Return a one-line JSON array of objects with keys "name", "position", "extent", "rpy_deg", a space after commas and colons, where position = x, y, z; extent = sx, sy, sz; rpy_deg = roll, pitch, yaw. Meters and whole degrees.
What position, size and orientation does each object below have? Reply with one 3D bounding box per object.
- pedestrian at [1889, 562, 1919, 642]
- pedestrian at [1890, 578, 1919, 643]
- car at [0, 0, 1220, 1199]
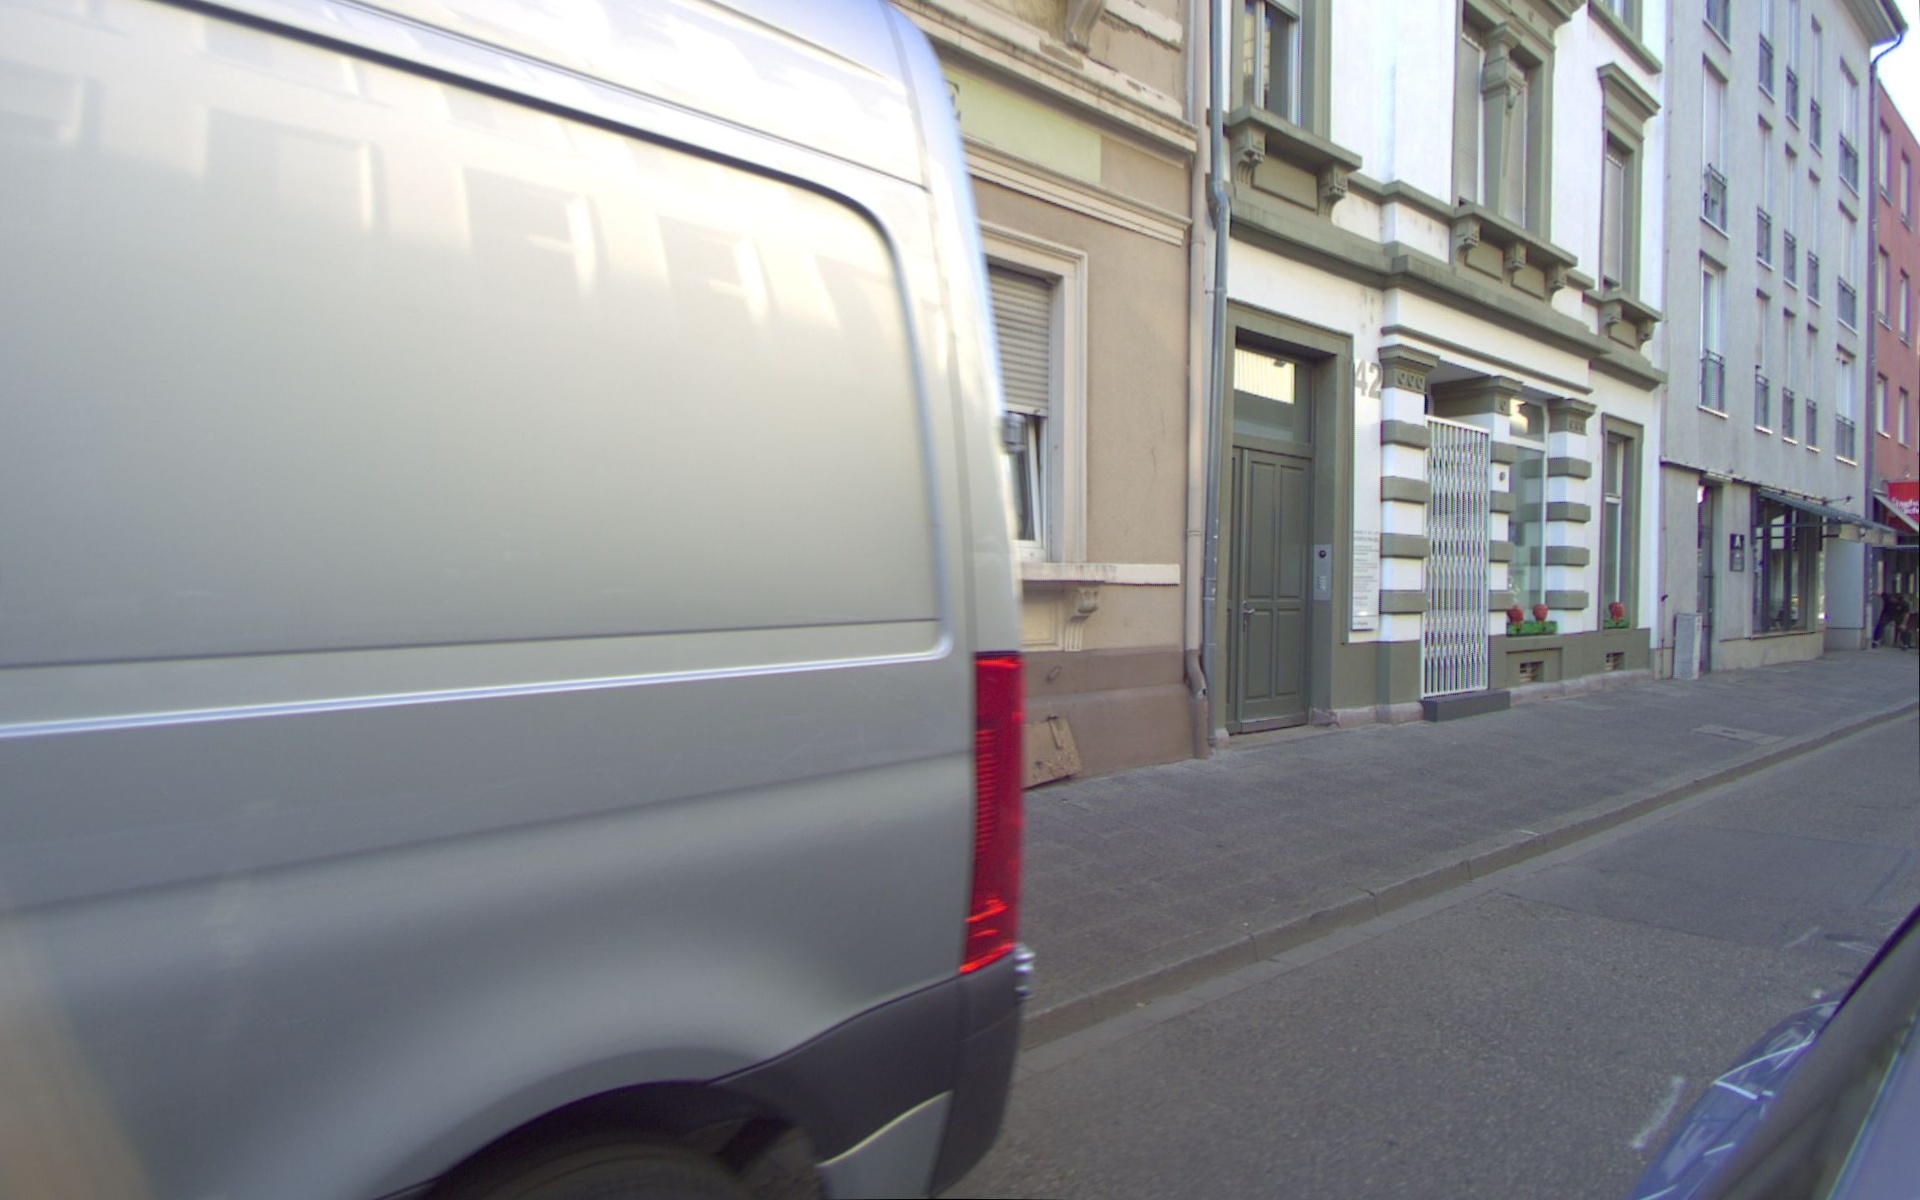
[{"name": "pedestrian", "position": [22.112, 0.040, 23.345], "extent": [0.651, 1.814, 0.726], "rpy_deg": [3, 3, 19]}, {"name": "pedestrian", "position": [22.260, 0.244, 23.544], "extent": [0.649, 1.504, 0.827], "rpy_deg": [0, 1, -39]}, {"name": "car", "position": [-2.621, 0.110, 0.895], "extent": [6.089, 2.470, 2.283], "rpy_deg": [-1, 1, -38]}]
